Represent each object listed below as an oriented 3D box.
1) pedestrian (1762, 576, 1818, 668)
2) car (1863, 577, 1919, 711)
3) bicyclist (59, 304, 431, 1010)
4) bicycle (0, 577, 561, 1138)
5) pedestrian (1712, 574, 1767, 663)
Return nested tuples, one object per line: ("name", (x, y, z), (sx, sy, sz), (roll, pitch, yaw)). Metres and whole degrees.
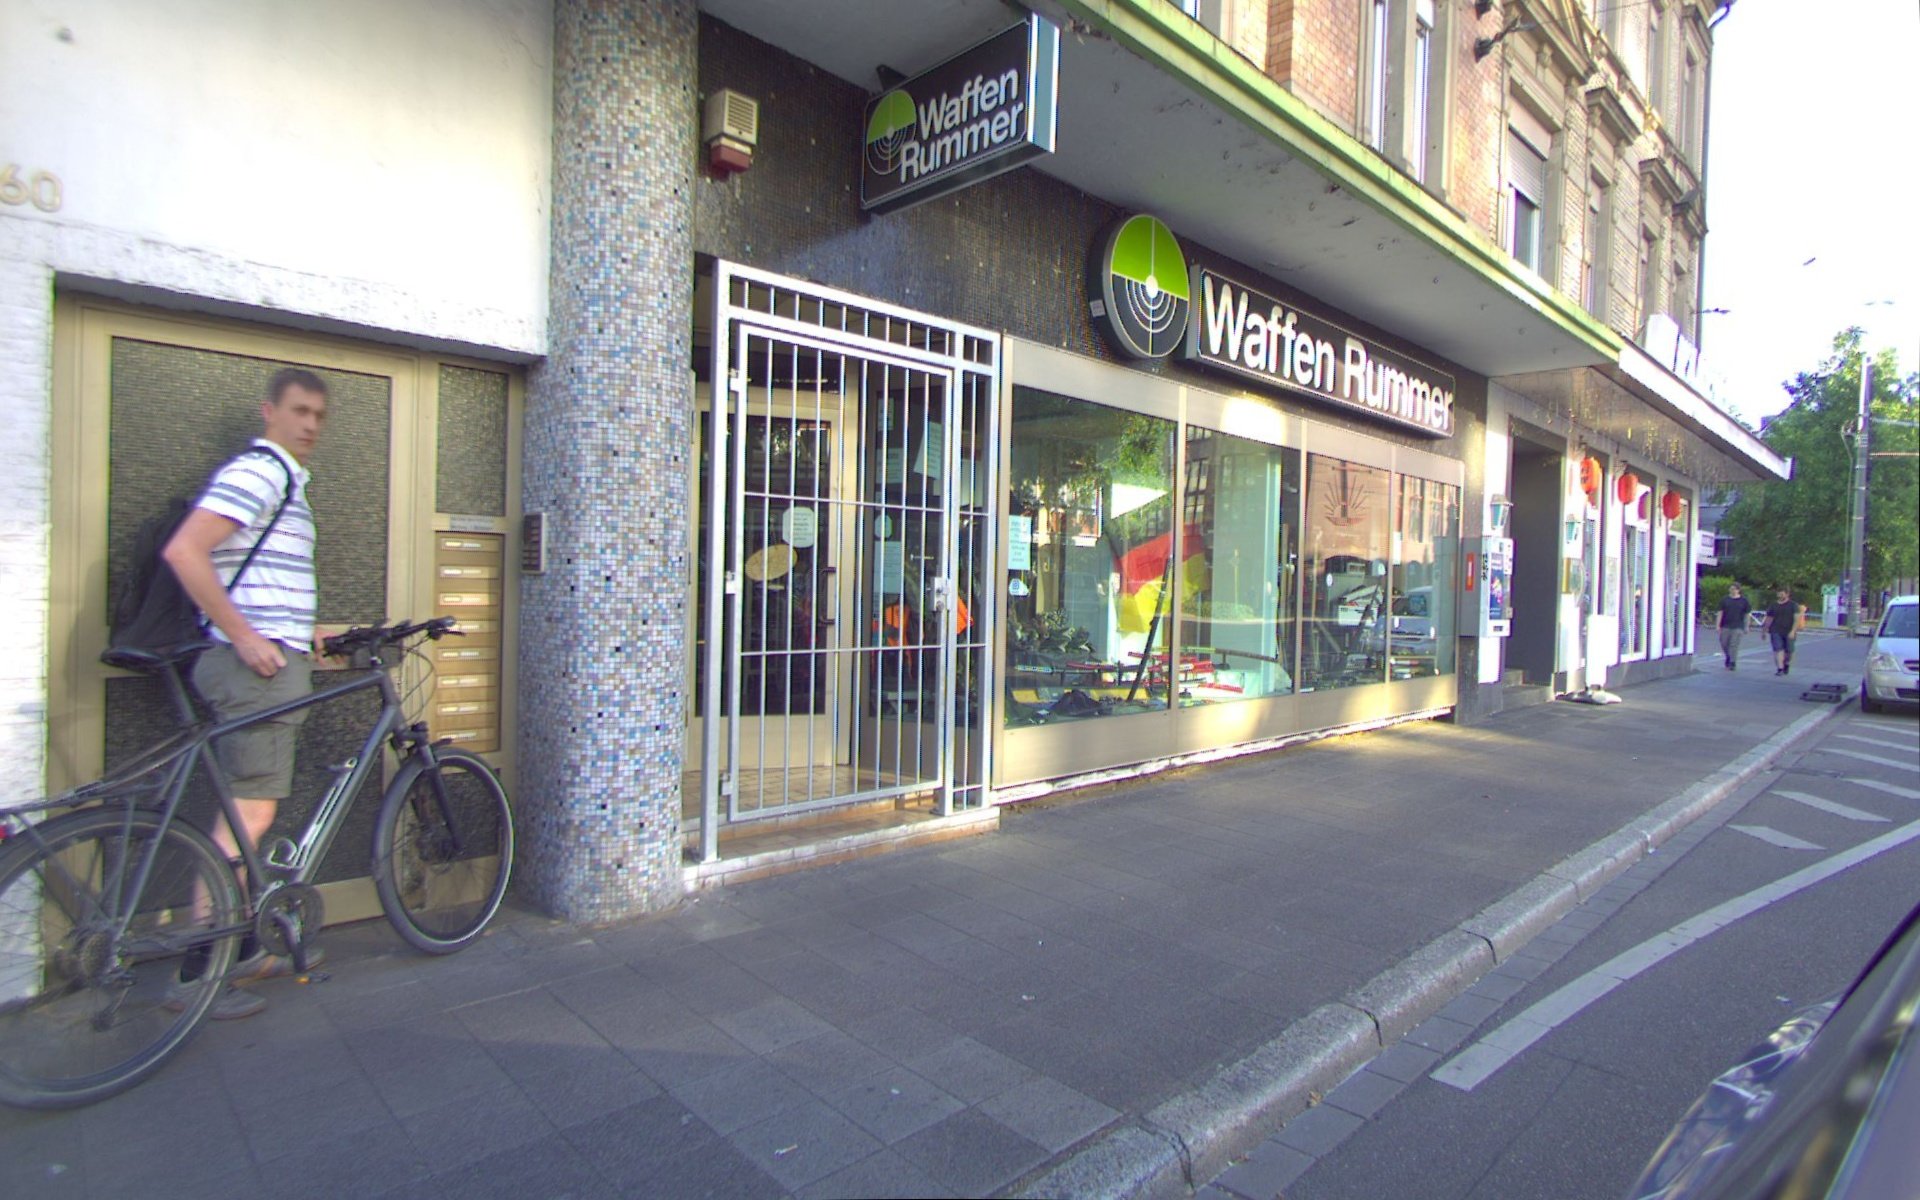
("pedestrian", (16.299, 0.414, 19.872), (0.494, 1.744, 0.700), (1, 3, -42))
("car", (13.963, 0.573, 14.012), (3.930, 1.705, 1.670), (0, 1, -41))
("bicyclist", (-2.206, 0.143, 3.183), (0.592, 1.905, 0.739), (2, 1, 20))
("bicycle", (-2.203, 0.573, 3.203), (0.660, 1.269, 1.883), (2, 1, 20))
("pedestrian", (15.908, 0.356, 20.649), (0.669, 1.744, 0.700), (1, 3, -42))
